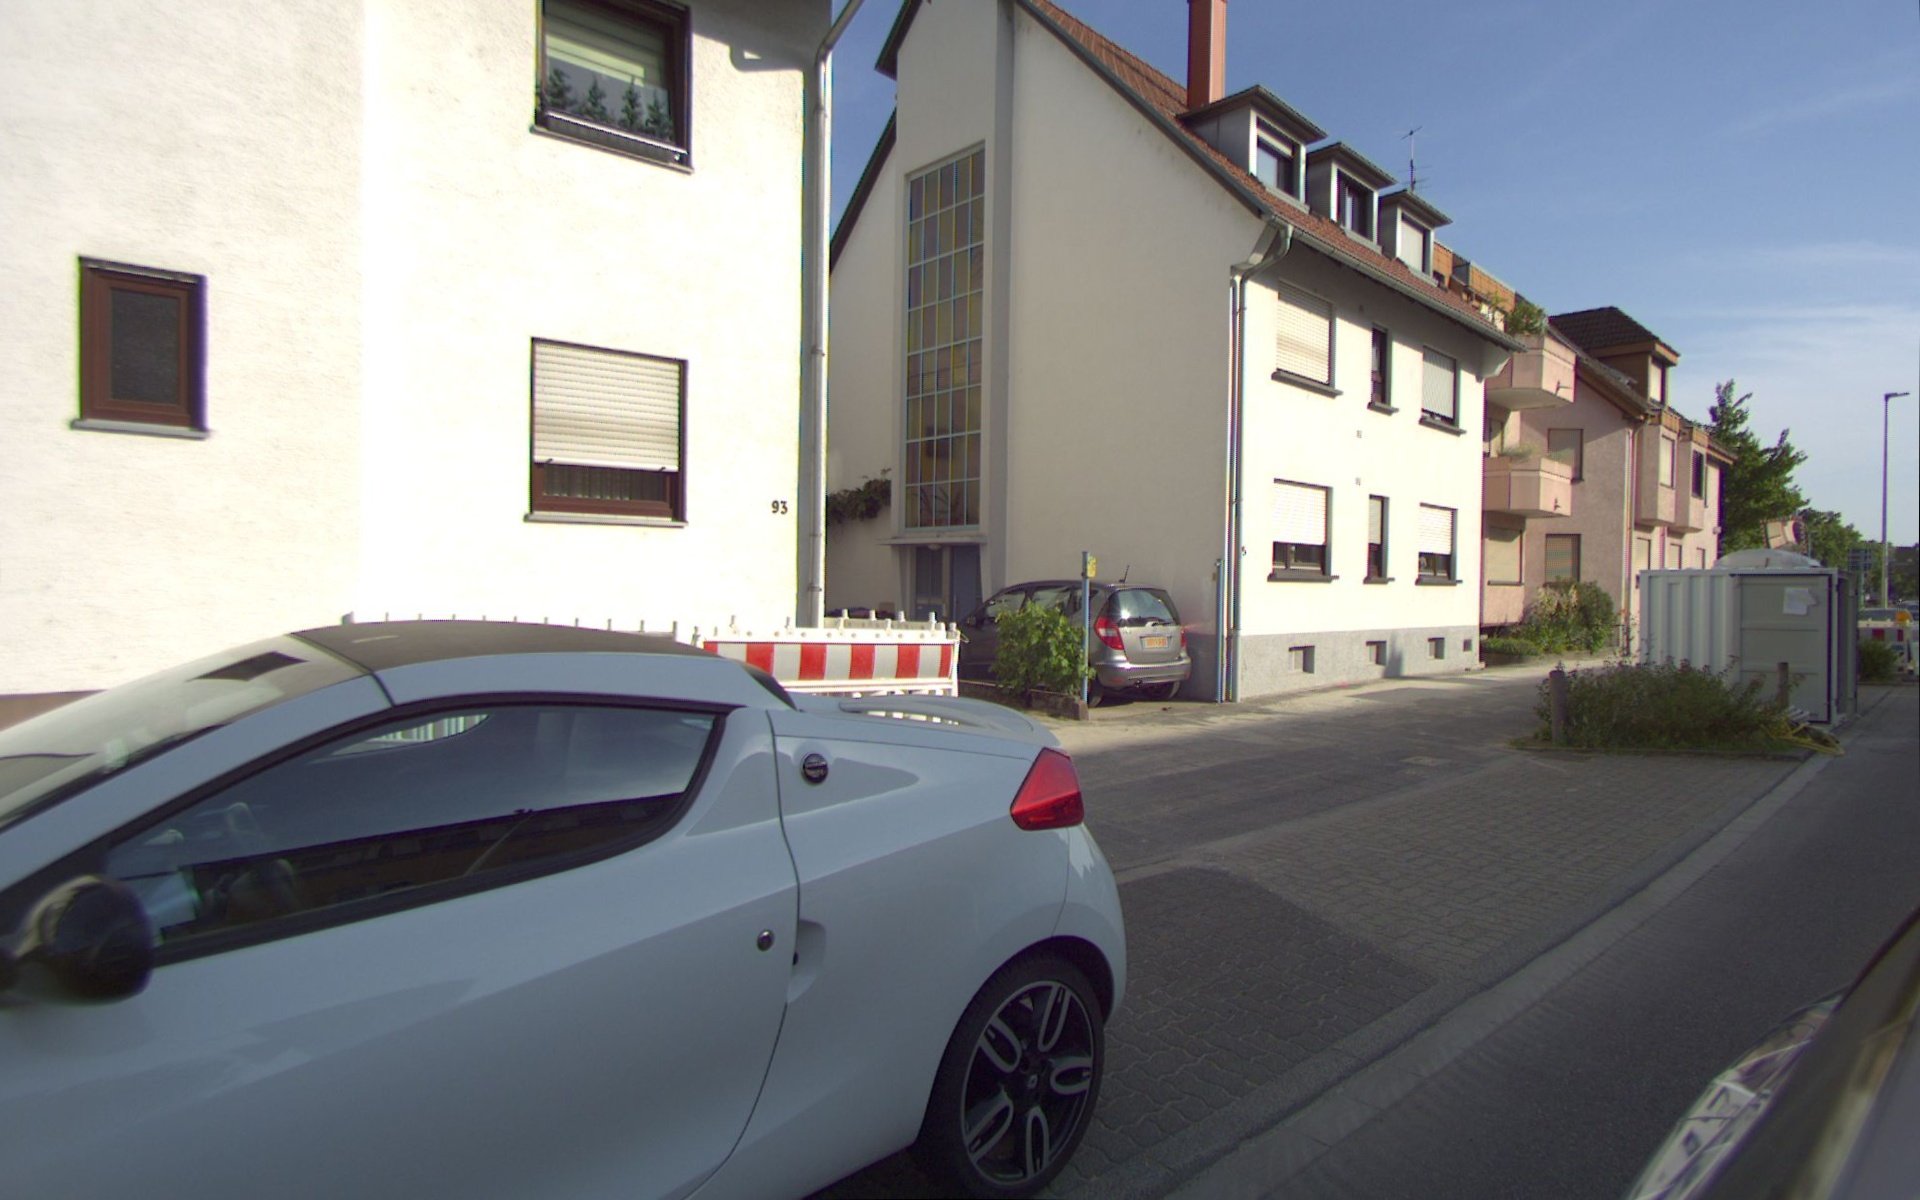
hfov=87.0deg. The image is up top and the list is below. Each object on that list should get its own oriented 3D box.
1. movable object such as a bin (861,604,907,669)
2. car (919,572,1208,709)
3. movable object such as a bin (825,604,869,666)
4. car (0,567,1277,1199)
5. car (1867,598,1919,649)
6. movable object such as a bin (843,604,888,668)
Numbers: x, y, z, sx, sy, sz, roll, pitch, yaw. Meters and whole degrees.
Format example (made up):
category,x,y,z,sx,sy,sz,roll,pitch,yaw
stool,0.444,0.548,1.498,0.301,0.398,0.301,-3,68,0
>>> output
category,x,y,z,sx,sy,sz,roll,pitch,yaw
movable object such as a bin,-1.352,0.640,18.080,0.608,1.120,0.550,1,0,-42
car,1.286,0.444,13.742,1.763,1.586,3.748,0,0,-40
movable object such as a bin,-2.107,0.636,18.904,0.608,1.120,0.550,1,0,-43
car,-1.224,0.667,2.288,4.258,1.415,1.718,0,2,-41
car,28.676,0.683,30.730,1.629,1.460,3.358,1,0,41
movable object such as a bin,-1.727,0.644,18.485,0.608,1.120,0.550,1,0,-43
